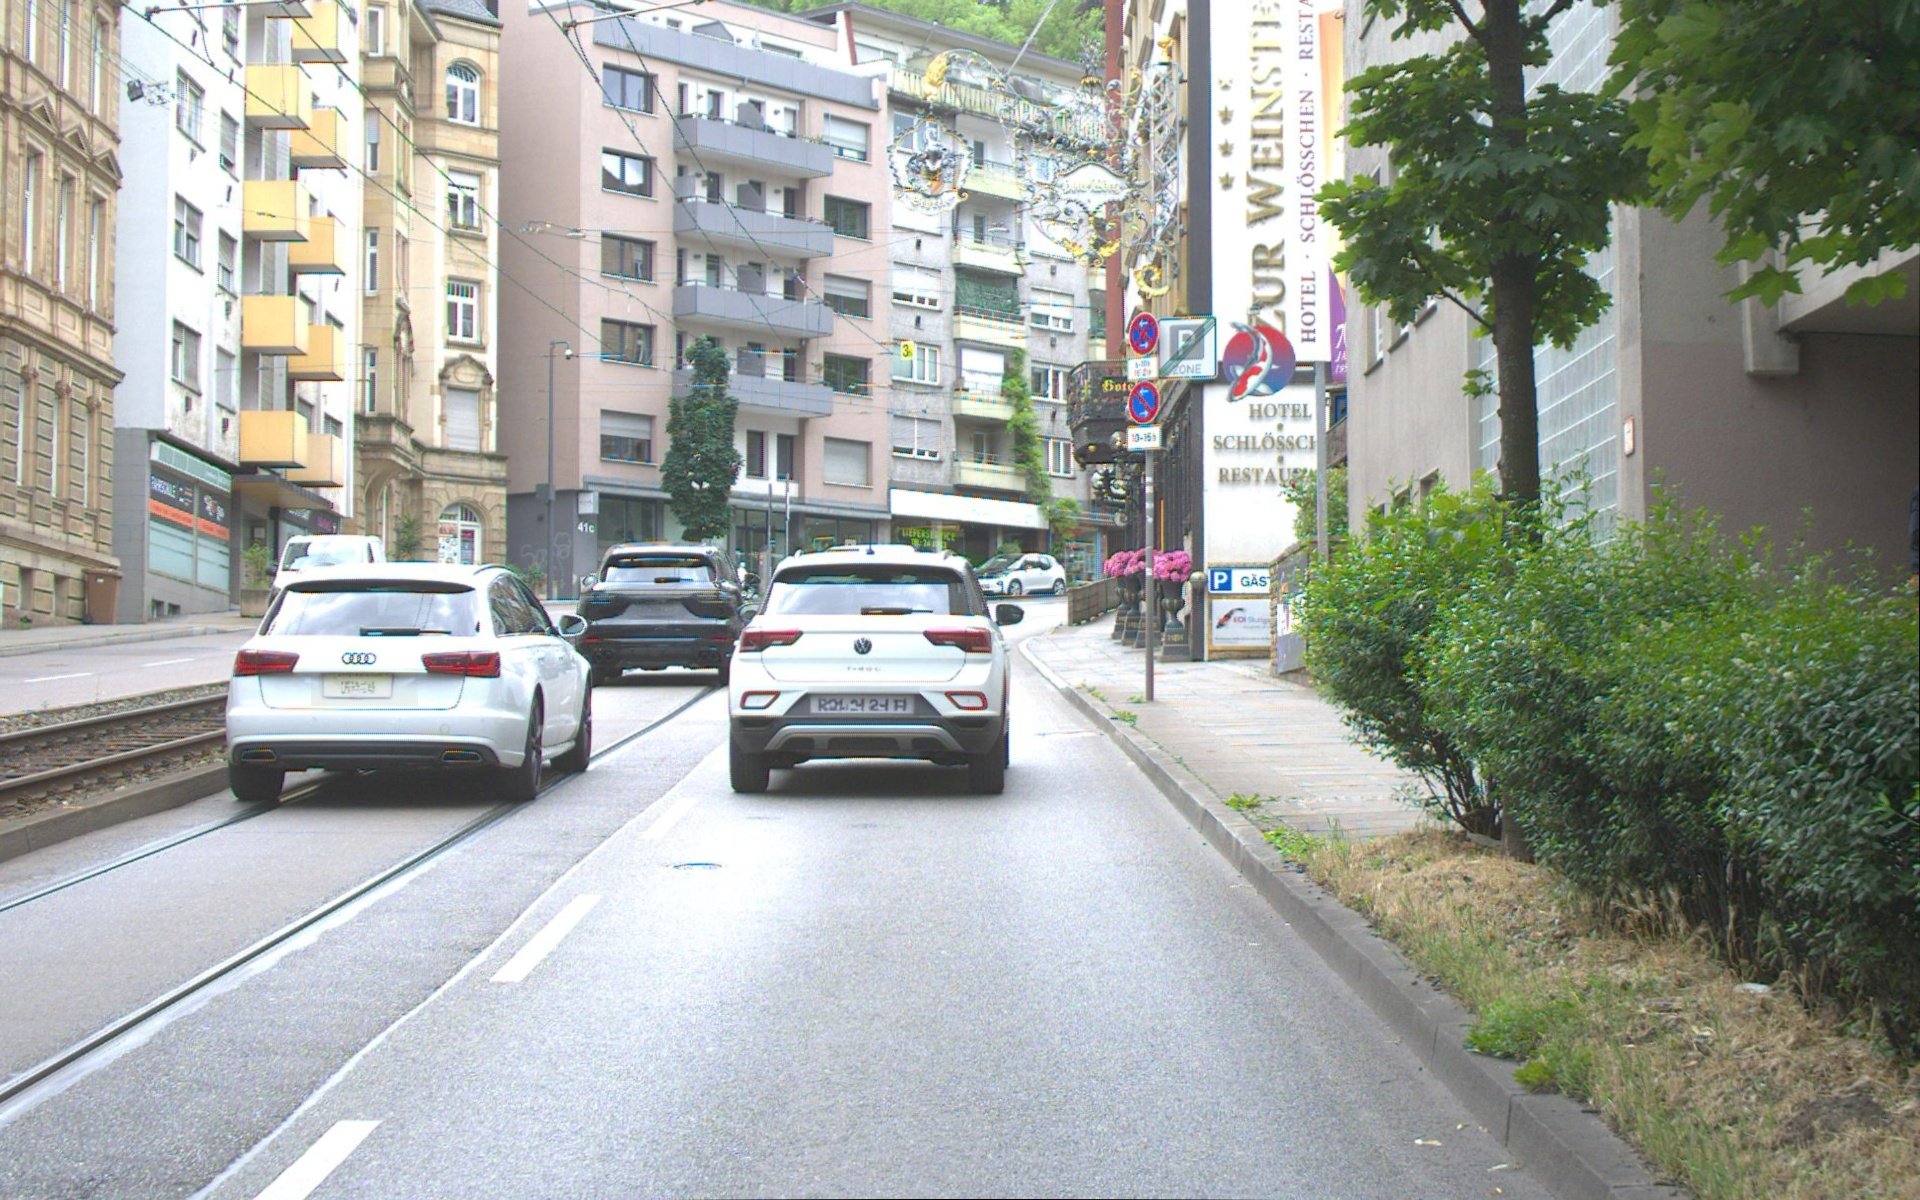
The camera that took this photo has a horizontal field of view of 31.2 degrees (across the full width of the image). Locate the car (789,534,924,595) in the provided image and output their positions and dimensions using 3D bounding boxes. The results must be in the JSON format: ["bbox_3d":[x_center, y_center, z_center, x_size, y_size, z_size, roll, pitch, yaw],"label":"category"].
[{"bbox_3d":[-3.488,-1.196,116.524,1.998,2.028,4.691,1,1,38],"label":"car"}]

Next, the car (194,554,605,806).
[{"bbox_3d":[-3.494,0.432,22.257,1.879,1.450,4.617,0,1,0],"label":"car"}]

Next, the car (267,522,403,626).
[{"bbox_3d":[-11.902,-0.526,65.716,1.957,1.894,5.319,0,1,-4],"label":"car"}]

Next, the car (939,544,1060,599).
[{"bbox_3d":[1.419,-1.005,121.766,1.908,1.916,4.425,1,1,40],"label":"car"}]

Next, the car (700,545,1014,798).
[{"bbox_3d":[-0.609,0.417,23.289,1.879,1.549,4.000,1,1,2],"label":"car"}]

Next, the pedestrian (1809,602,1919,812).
[{"bbox_3d":[4.364,0.499,16.287,0.525,0.961,0.607,1,1,0],"label":"pedestrian"}]

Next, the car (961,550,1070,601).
[{"bbox_3d":[1.904,-0.848,117.834,1.797,1.722,3.992,1,1,35],"label":"car"}]

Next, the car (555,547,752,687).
[{"bbox_3d":[-3.603,0.160,41.152,2.038,1.566,4.358,0,1,-1],"label":"car"}]

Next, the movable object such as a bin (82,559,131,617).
[{"bbox_3d":[-15.953,-0.234,64.276,0.770,1.070,0.561,1,1,0],"label":"movable object such as a bin"}]

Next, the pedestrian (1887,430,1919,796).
[{"bbox_3d":[5.159,0.066,17.703,0.612,1.869,0.590,1,1,27],"label":"pedestrian"}]
